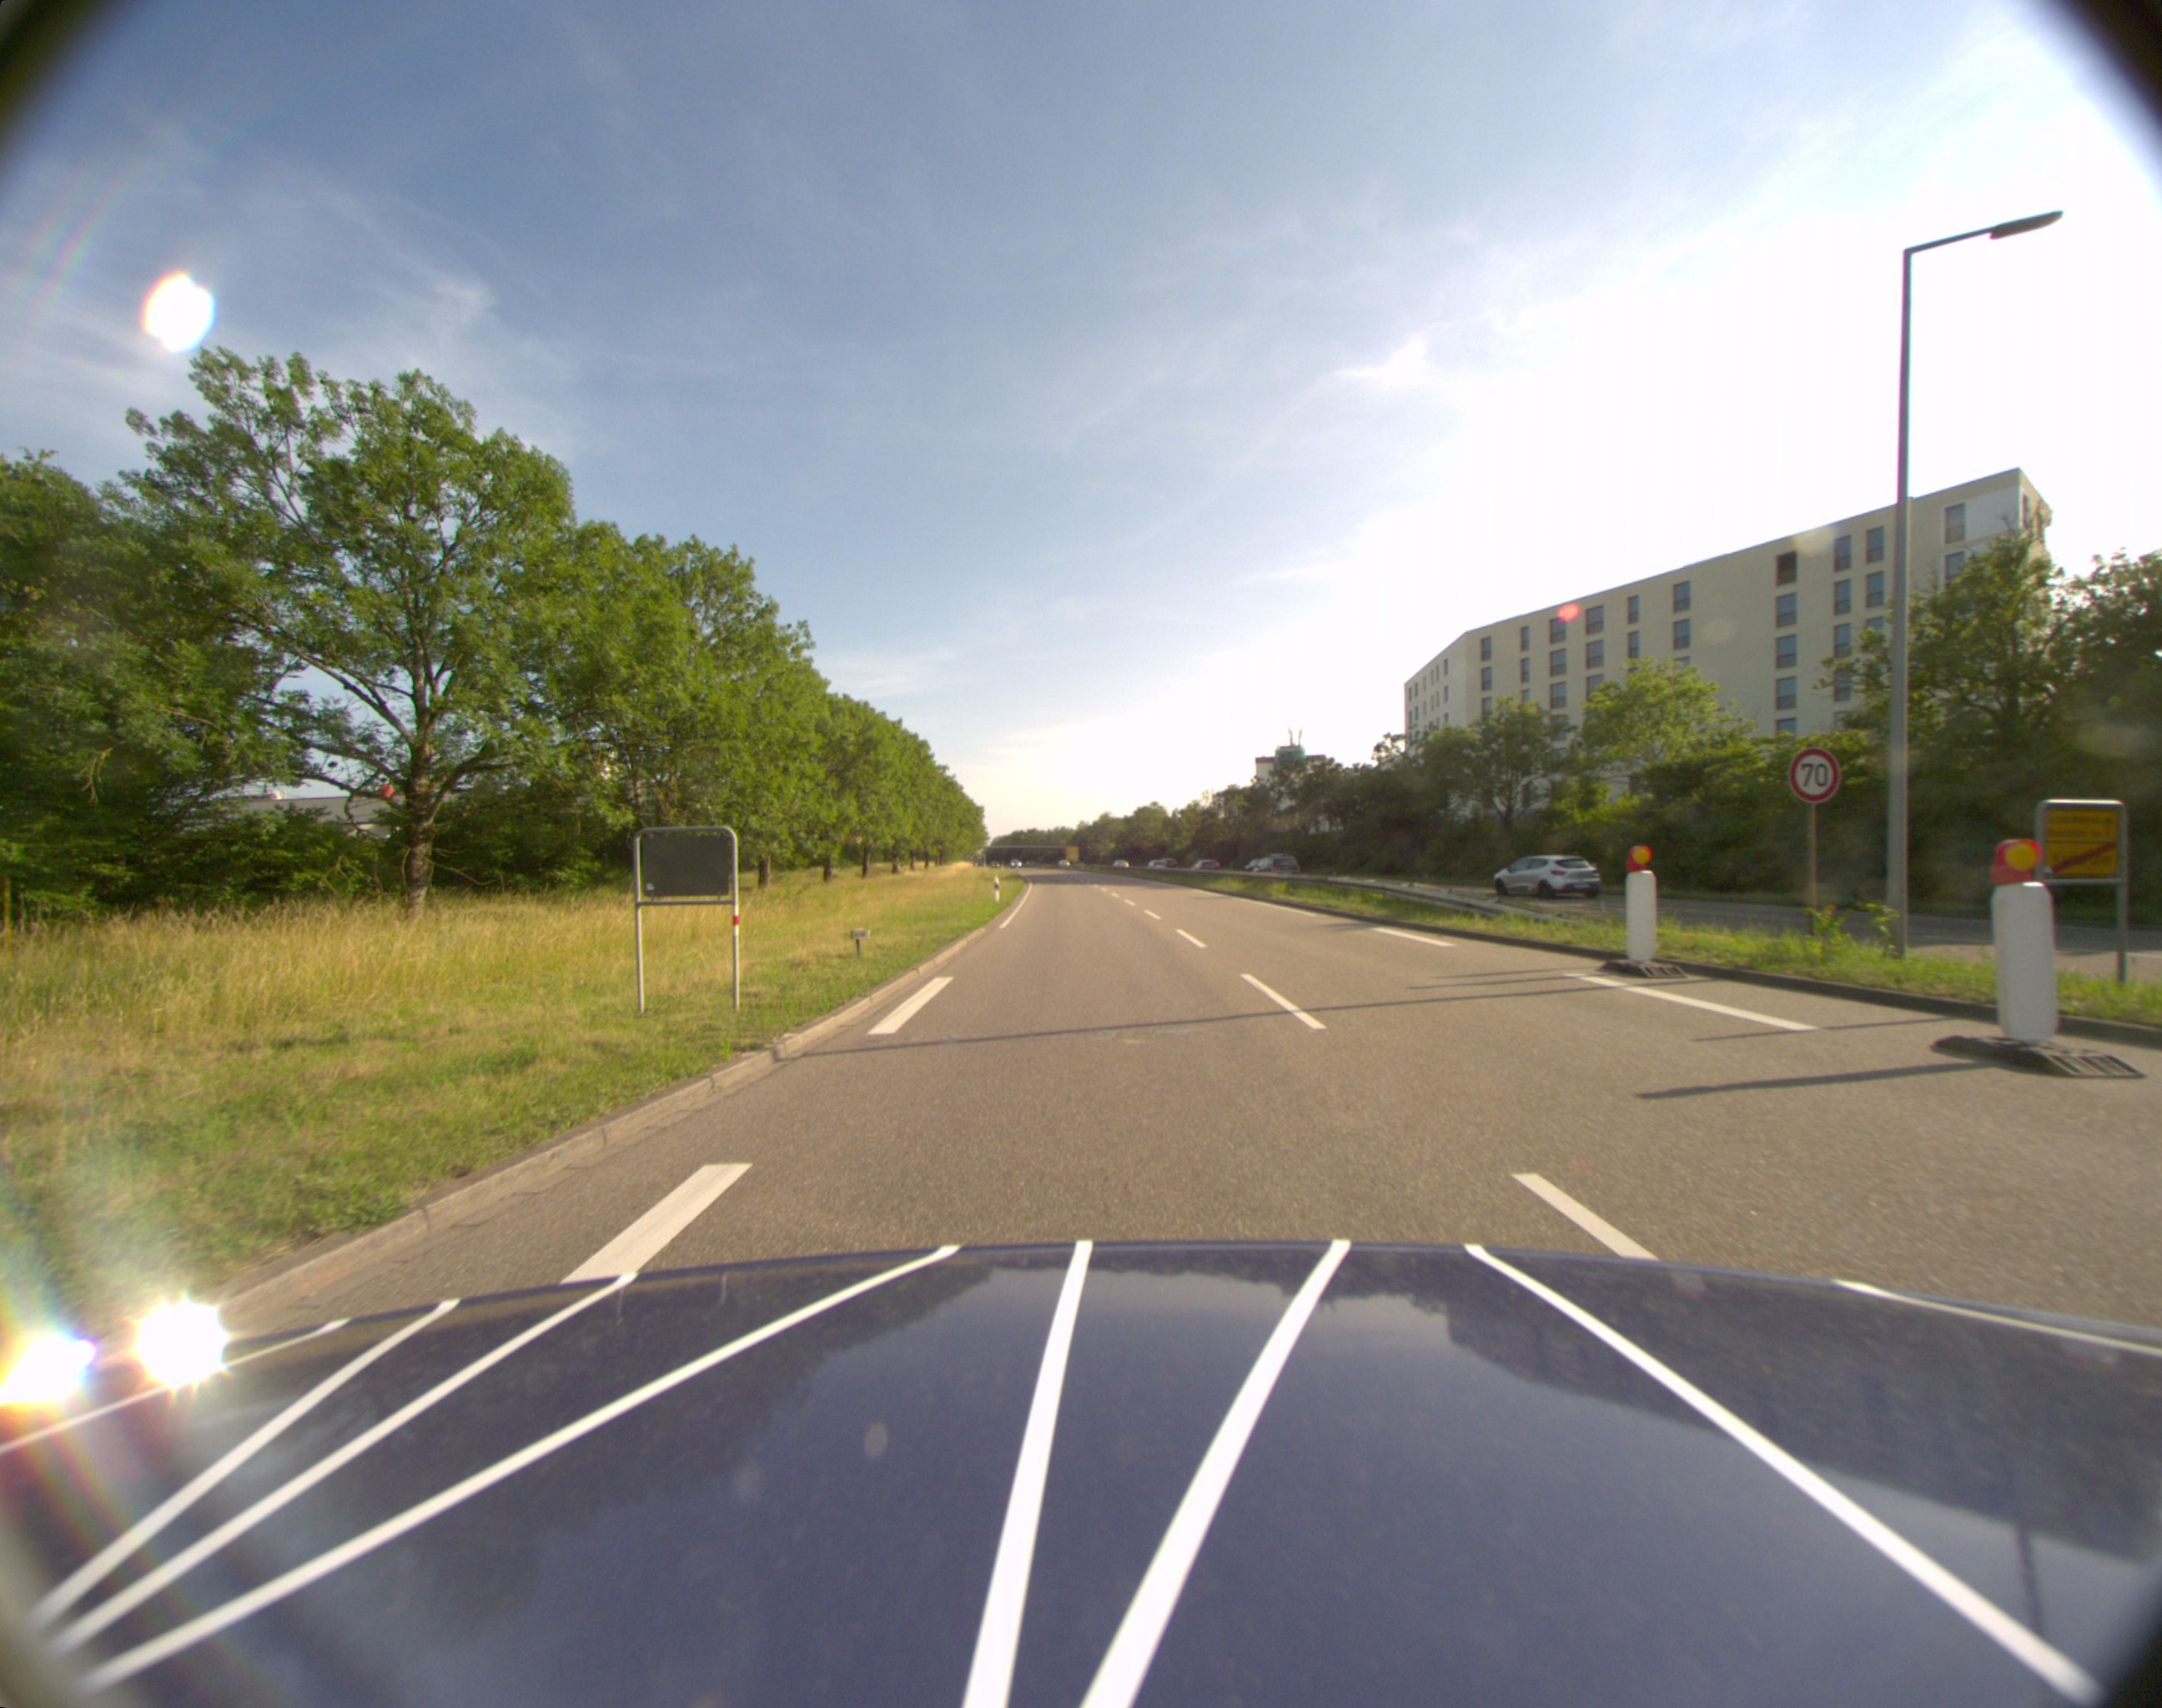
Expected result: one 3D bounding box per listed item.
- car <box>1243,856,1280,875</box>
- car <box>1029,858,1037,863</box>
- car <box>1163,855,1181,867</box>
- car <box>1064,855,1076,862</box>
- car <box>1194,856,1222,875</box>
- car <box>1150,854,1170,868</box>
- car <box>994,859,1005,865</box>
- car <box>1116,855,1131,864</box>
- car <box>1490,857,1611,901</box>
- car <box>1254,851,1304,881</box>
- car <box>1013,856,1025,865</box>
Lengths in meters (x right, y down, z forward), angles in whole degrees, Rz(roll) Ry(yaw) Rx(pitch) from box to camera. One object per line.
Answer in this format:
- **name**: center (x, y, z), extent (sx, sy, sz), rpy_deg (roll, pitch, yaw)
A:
- **car**: center (14.084, 0.878, 59.529), extent (1.673, 1.432, 3.938), rpy_deg (-2, 0, -4)
- **car**: center (-13.126, 1.768, 205.964), extent (1.608, 1.432, 4.197), rpy_deg (-2, 0, -11)
- **car**: center (11.065, 0.865, 92.625), extent (1.607, 1.433, 3.235), rpy_deg (-2, 0, -3)
- **car**: center (-2.330, 0.893, 155.235), extent (1.647, 1.432, 4.197), rpy_deg (-2, 0, -12)
- **car**: center (10.309, 0.920, 61.656), extent (1.607, 1.432, 3.235), rpy_deg (-2, 0, -2)
- **car**: center (8.362, 0.732, 80.889), extent (1.607, 1.433, 3.235), rpy_deg (-2, 0, -3)
- **car**: center (-19.658, 2.014, 182.287), extent (1.903, 1.377, 4.350), rpy_deg (-2, 0, -15)
- **car**: center (6.688, 0.839, 119.305), extent (1.608, 1.432, 3.233), rpy_deg (-2, 0, -9)
- **car**: center (16.098, 0.809, 26.317), extent (1.644, 1.368, 4.064), rpy_deg (-2, 0, -1)
- **car**: center (11.351, 0.686, 43.790), extent (1.736, 1.602, 3.523), rpy_deg (-2, 0, -4)
- **car**: center (-13.795, 1.387, 168.036), extent (1.903, 1.813, 4.350), rpy_deg (-2, 0, -15)
